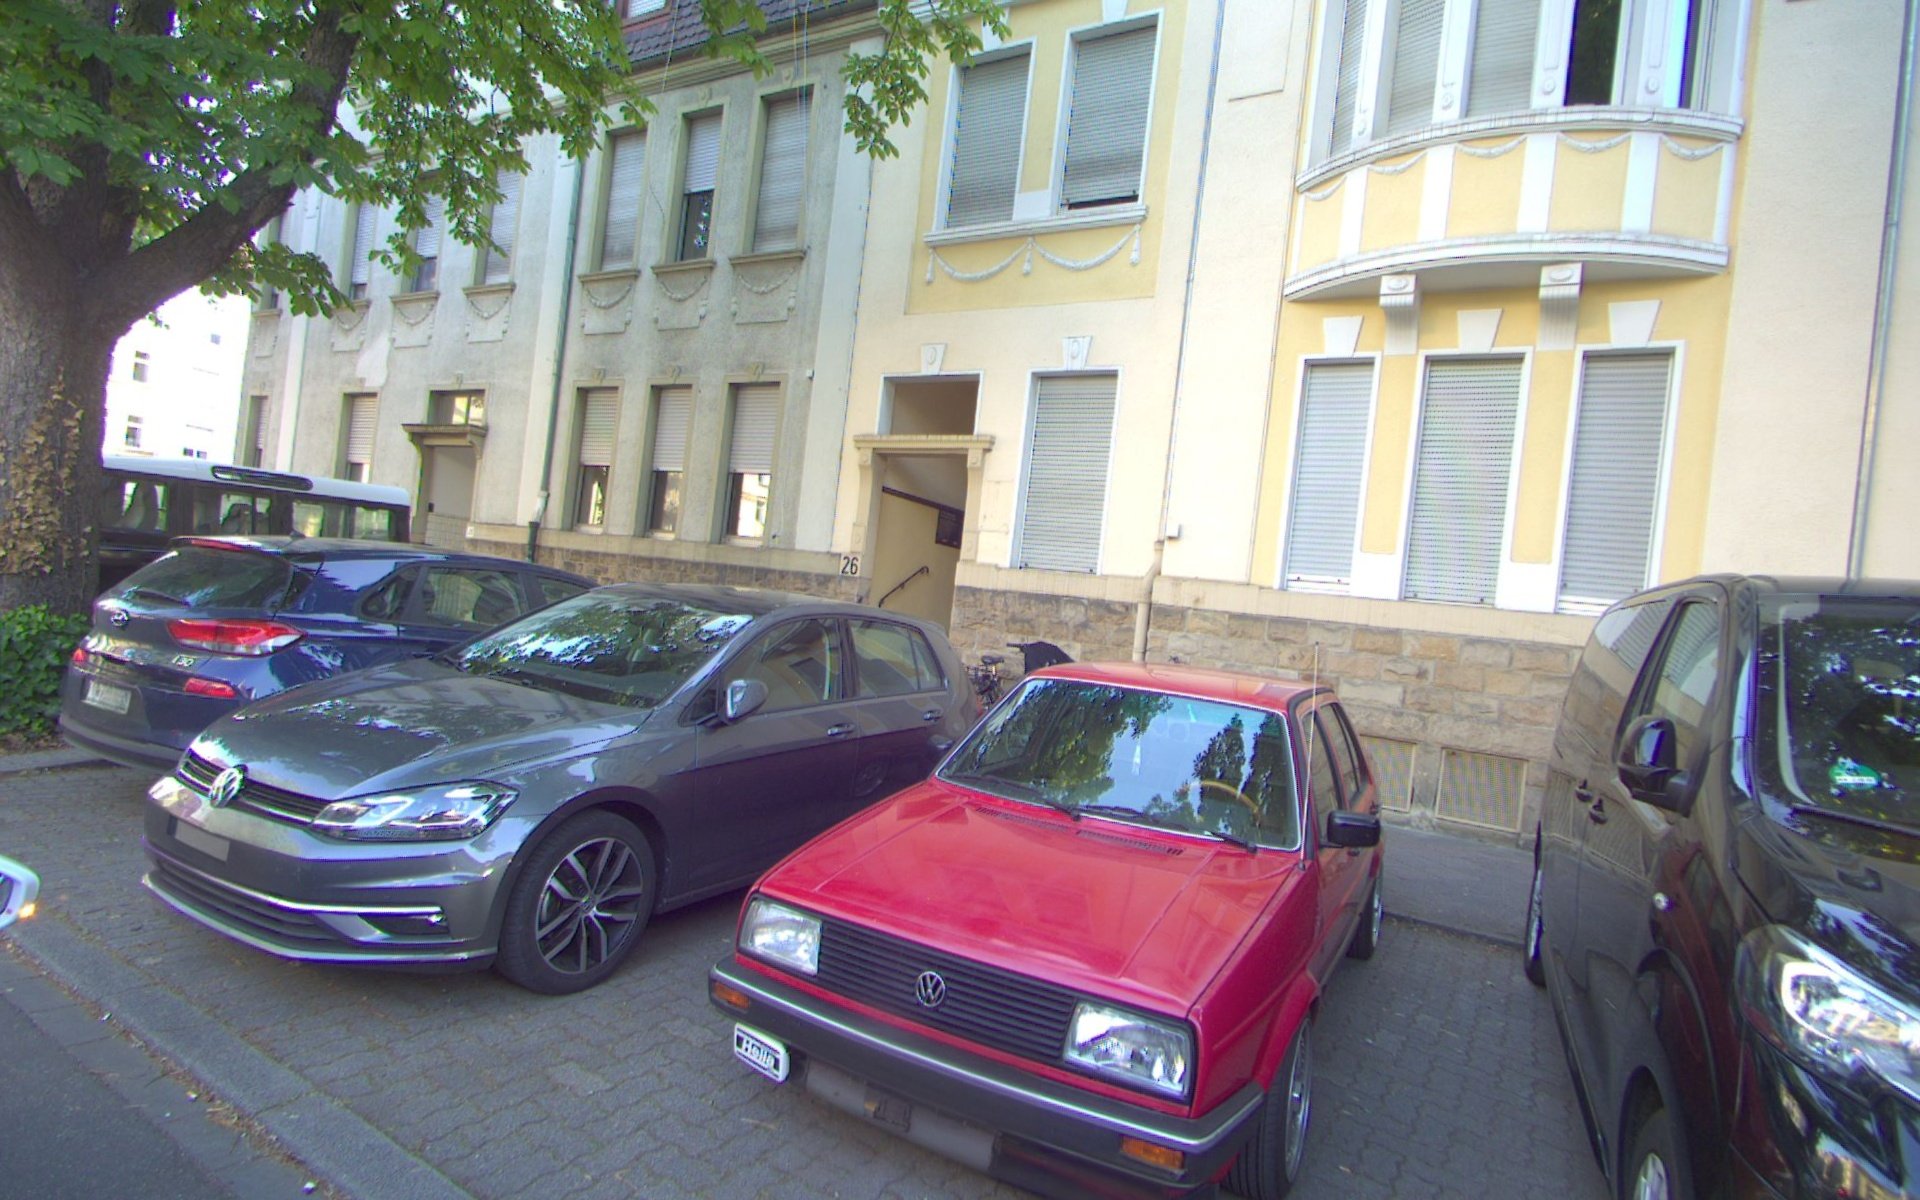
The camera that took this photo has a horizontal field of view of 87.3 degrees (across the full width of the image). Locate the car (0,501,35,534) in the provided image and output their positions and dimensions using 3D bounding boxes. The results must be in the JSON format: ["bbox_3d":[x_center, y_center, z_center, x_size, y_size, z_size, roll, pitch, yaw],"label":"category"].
[{"bbox_3d":[-36.525,-3.257,36.993,1.357,1.081,3.370,7,-1,30],"label":"car"}]

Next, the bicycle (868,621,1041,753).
[{"bbox_3d":[-0.075,0.860,10.346,1.675,1.090,0.500,7,2,31],"label":"bicycle"}]

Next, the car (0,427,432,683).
[{"bbox_3d":[-7.620,-0.371,9.316,1.762,1.981,4.496,7,1,29],"label":"car"}]

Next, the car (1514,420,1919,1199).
[{"bbox_3d":[2.881,0.893,2.950,1.848,1.847,4.829,6,0,27],"label":"car"}]

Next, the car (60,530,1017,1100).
[{"bbox_3d":[-1.374,0.643,4.833,1.600,1.440,4.054,6,0,29],"label":"car"}]

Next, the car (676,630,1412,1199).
[{"bbox_3d":[0.838,0.907,4.230,1.532,1.337,3.916,6,0,29],"label":"car"}]

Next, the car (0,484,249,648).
[{"bbox_3d":[-10.047,-0.400,10.795,1.680,1.606,3.488,7,0,25],"label":"car"}]

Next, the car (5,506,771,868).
[{"bbox_3d":[-3.046,0.412,6.190,1.600,1.440,3.754,6,0,29],"label":"car"}]

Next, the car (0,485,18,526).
[{"bbox_3d":[-38.247,-3.866,37.431,1.757,1.479,4.293,8,-1,30],"label":"car"}]
